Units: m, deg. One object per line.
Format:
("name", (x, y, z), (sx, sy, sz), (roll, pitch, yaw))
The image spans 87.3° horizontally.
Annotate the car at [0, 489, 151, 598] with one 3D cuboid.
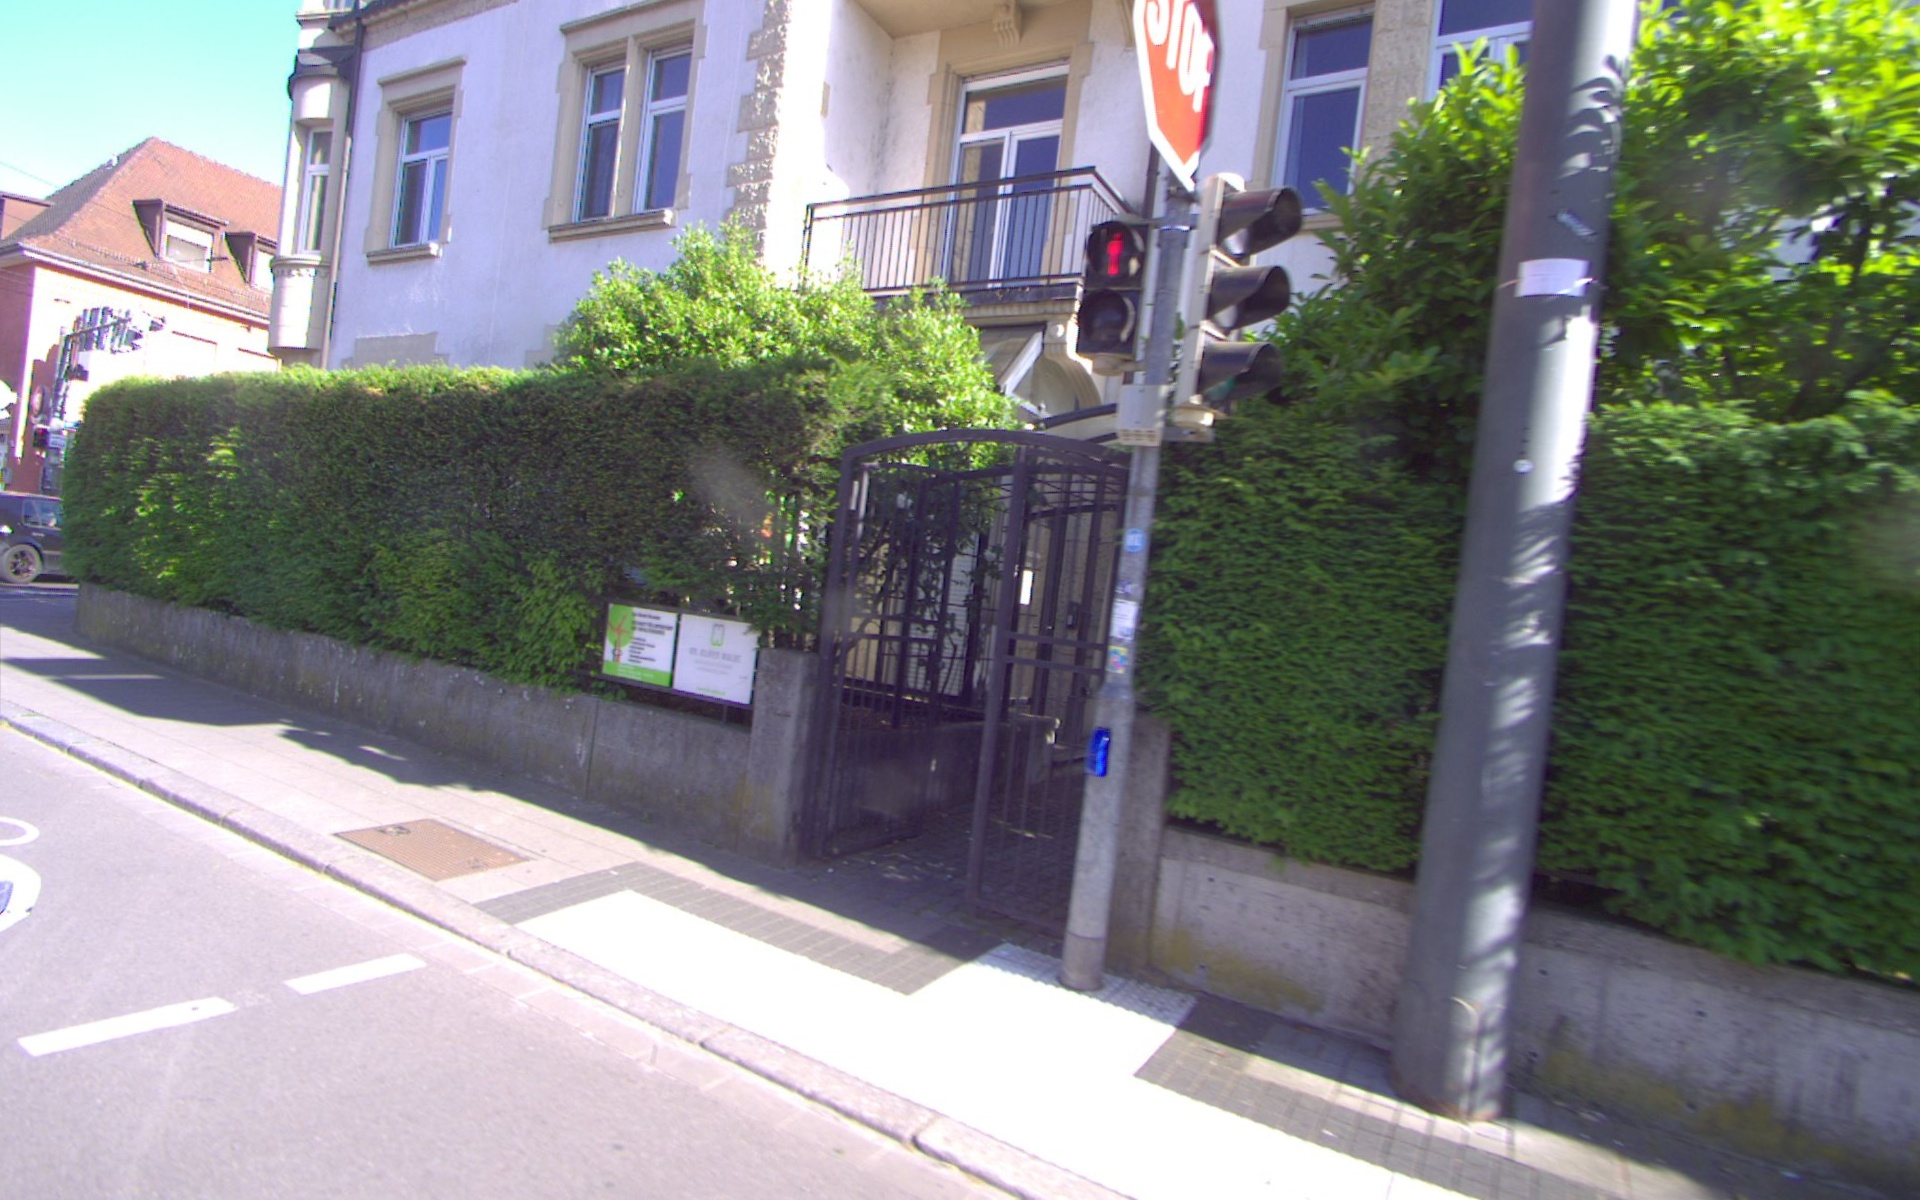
("car", (-15.028, -0.999, 16.468), (3.836, 1.438, 1.588), (7, 0, 33))
